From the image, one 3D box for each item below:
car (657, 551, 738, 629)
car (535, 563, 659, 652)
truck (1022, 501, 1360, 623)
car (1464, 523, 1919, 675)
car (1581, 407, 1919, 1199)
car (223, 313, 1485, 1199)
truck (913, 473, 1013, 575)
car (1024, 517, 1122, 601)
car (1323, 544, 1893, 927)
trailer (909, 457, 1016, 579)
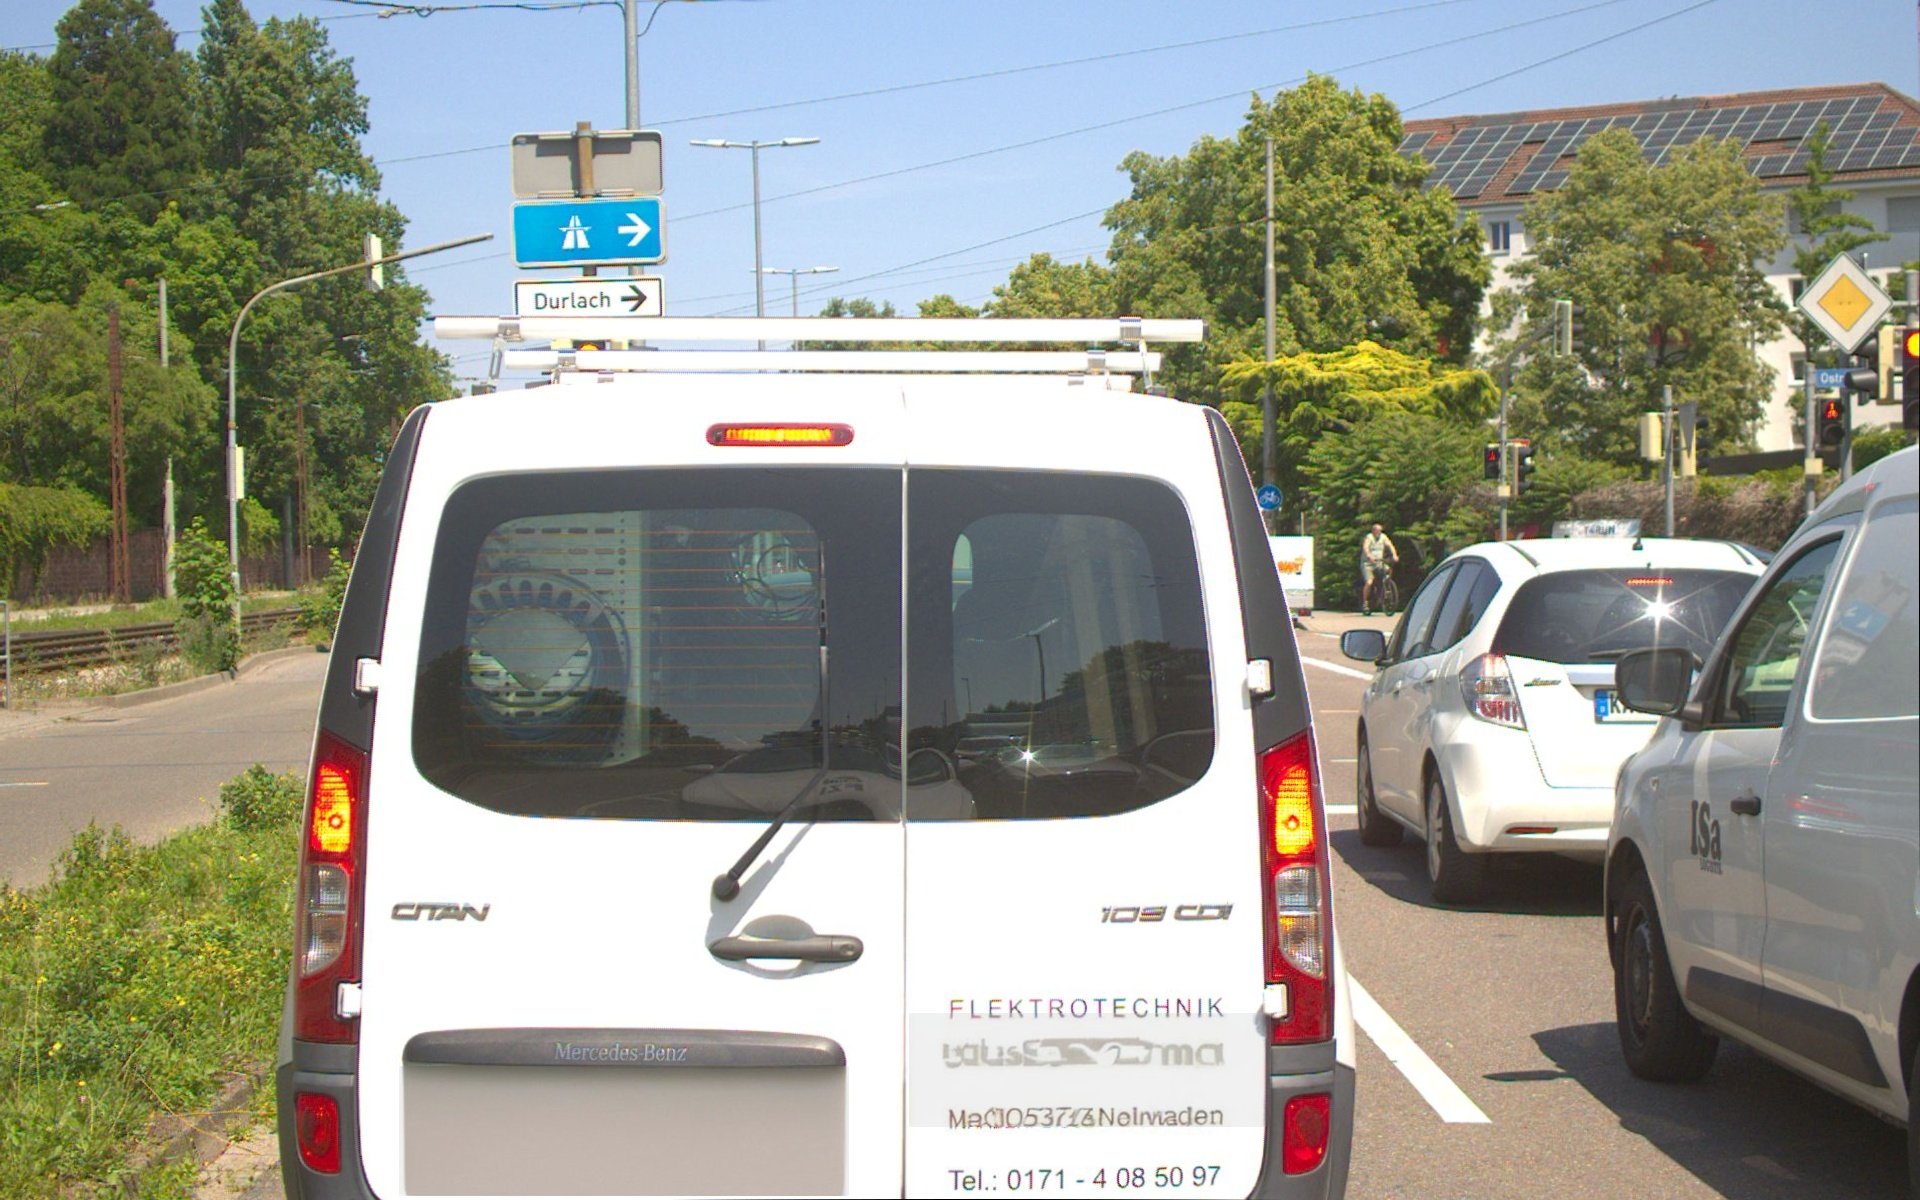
[{"bbox_3d":[-6.934,-0.289,91.194,1.993,2.007,4.001,-1,1,-2],"label":"car"},{"bbox_3d":[-6.093,0.099,57.473,1.691,1.307,3.886,2,1,-11],"label":"car"},{"bbox_3d":[3.929,-0.675,60.058,2.299,2.007,6.727,-1,1,-33],"label":"truck"},{"bbox_3d":[7.871,-0.024,36.321,4.685,1.520,1.998,0,1,23],"label":"car"},{"bbox_3d":[2.746,0.498,8.081,1.710,1.824,4.014,0,1,-2],"label":"car"},{"bbox_3d":[-0.200,0.465,7.055,1.866,1.829,3.849,1,1,-1],"label":"car"},{"bbox_3d":[0.164,-2.815,127.857,3.576,3.620,8.809,-1,1,1],"label":"truck"},{"bbox_3d":[2.664,-0.966,80.264,1.994,1.908,3.999,0,1,6],"label":"car"},{"bbox_3d":[2.758,0.502,15.517,1.756,1.481,4.000,1,1,-1],"label":"car"},{"bbox_3d":[0.088,-2.804,118.915,3.527,4.037,8.977,-1,1,0],"label":"trailer"}]
